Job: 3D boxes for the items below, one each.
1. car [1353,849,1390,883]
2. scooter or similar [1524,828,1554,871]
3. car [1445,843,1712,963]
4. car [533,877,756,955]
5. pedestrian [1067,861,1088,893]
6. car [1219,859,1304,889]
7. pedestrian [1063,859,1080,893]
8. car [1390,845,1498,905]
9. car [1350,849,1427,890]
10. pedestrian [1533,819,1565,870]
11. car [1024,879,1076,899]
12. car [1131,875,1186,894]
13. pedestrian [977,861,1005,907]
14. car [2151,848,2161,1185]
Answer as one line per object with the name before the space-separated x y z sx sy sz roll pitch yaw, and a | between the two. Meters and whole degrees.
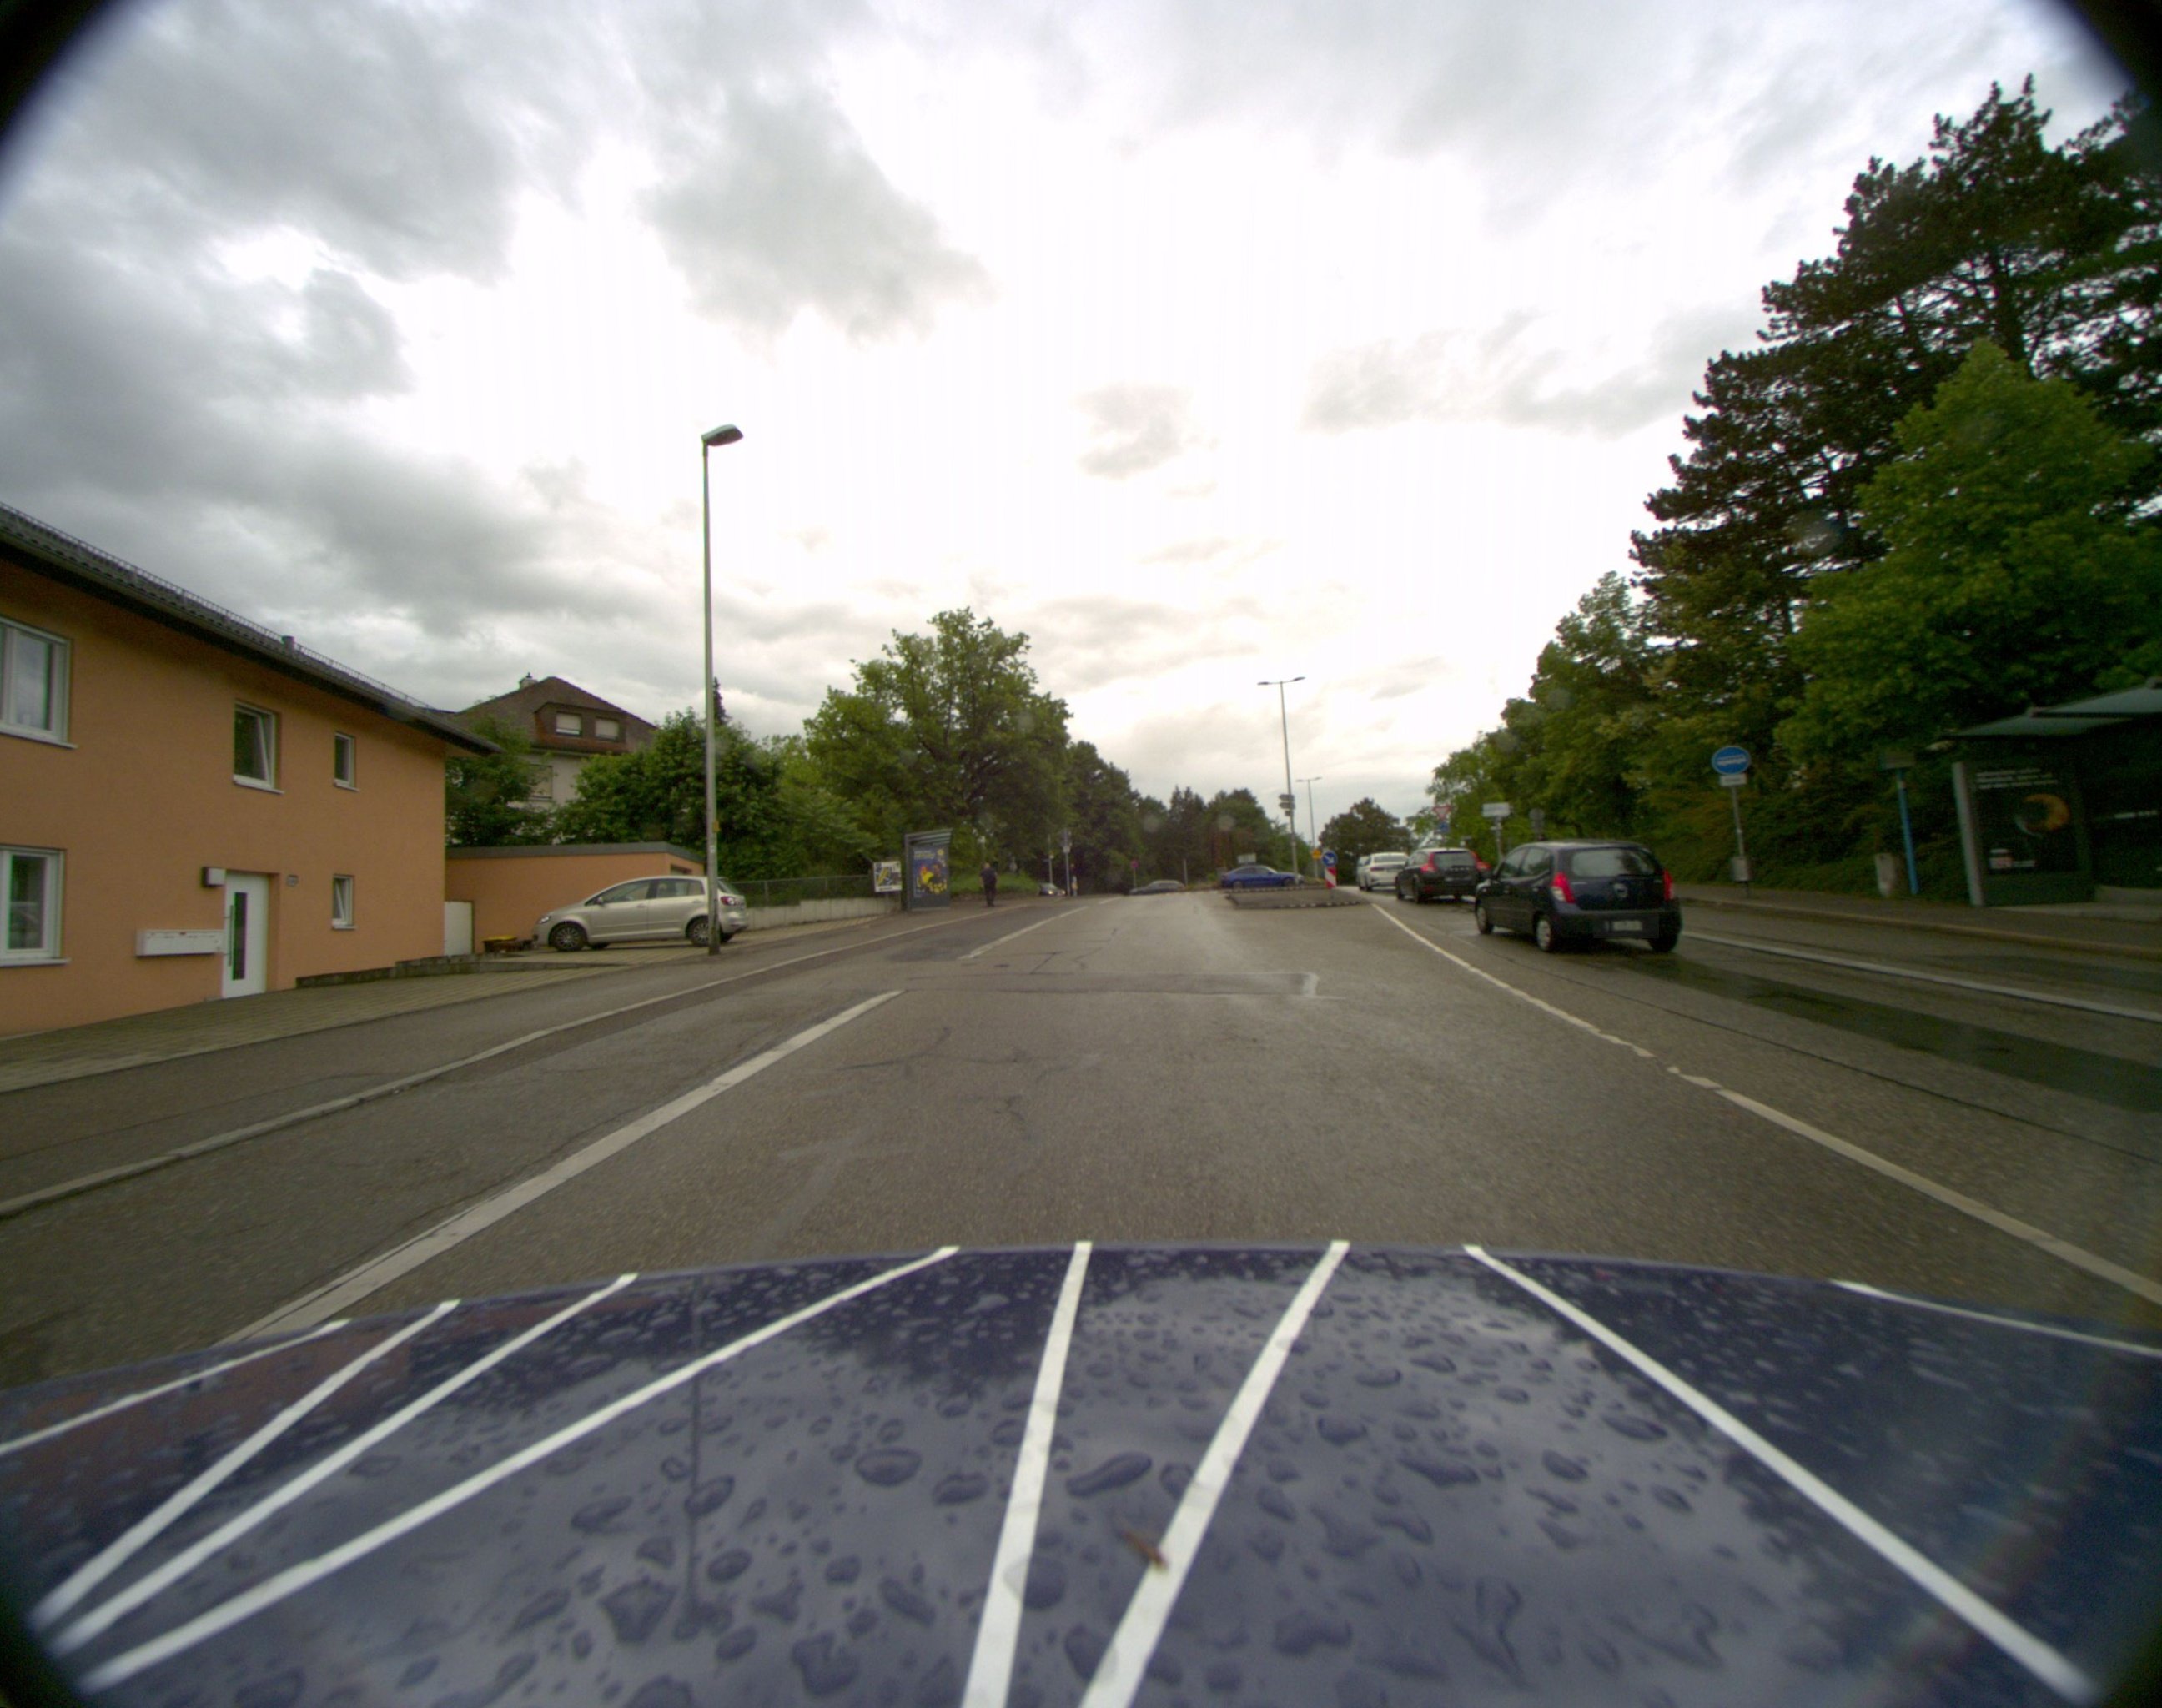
car | 22.699 0.986 59.569 2.170 2.399 5.406 -2 -3 16
scooter or similar | 16.697 -0.148 27.711 0.510 1.507 1.320 -2 -1 14
car | 7.251 0.669 11.694 1.725 1.455 4.381 -2 -1 9
car | -9.355 1.301 16.612 3.872 1.556 1.726 0 -2 -13
pedestrian | -0.199 1.230 40.661 0.821 1.645 0.724 -1 -1 -44
car | 10.608 1.197 44.704 4.661 1.428 1.766 -4 -3 19
pedestrian | -0.473 1.159 39.757 0.724 1.722 0.820 -2 -1 8
car | 9.628 0.522 20.498 1.793 1.438 4.408 1 0 14
car | 11.764 0.568 29.373 1.831 1.393 4.825 -2 -1 11
pedestrian | 17.014 -0.341 27.658 0.704 1.796 0.826 -2 -1 14
car | -2.483 2.801 60.308 1.867 1.406 4.376 -1 -3 -37
car | 6.635 2.597 65.313 4.383 1.406 1.863 -3 -2 -4
pedestrian | -3.401 1.126 28.702 0.928 1.645 1.098 -2 -1 -3
car | 5.776 0.729 1.154 1.814 1.567 4.687 -2 0 3
